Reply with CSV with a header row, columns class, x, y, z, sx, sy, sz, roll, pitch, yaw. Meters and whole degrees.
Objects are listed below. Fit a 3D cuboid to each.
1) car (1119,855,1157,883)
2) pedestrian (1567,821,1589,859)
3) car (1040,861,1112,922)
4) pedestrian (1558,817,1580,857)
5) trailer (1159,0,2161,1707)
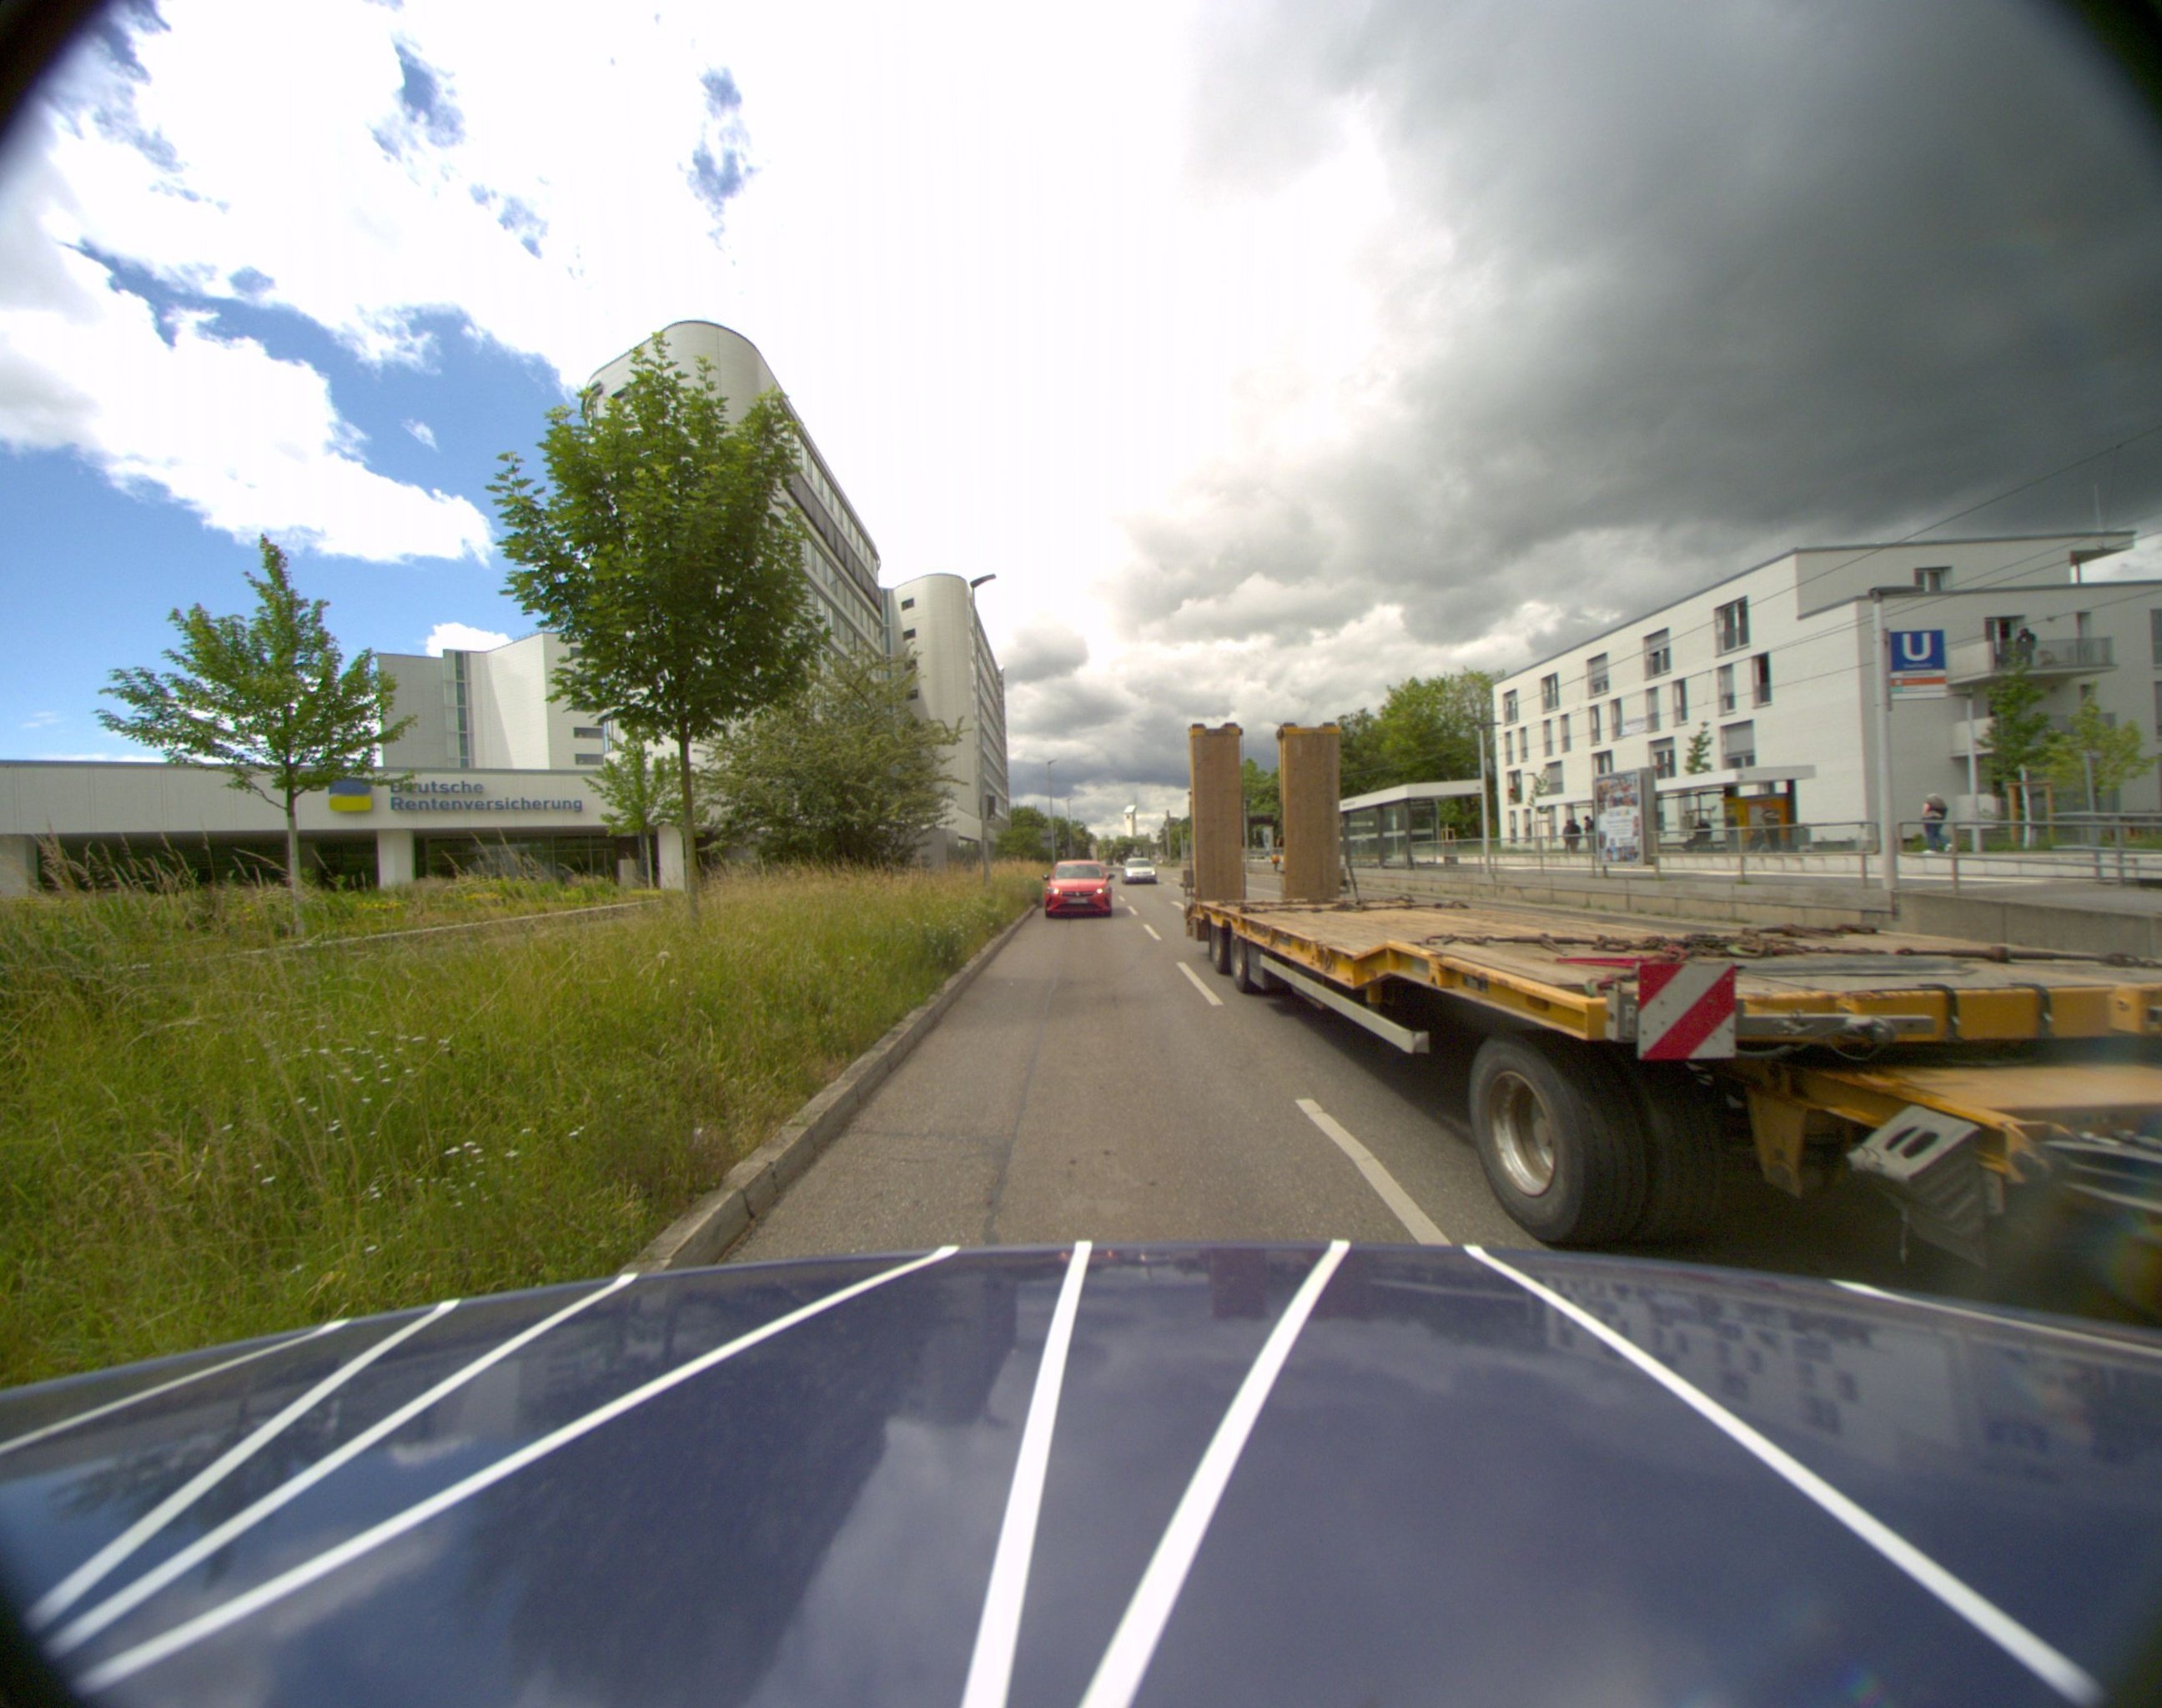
class,x,y,z,sx,sy,sz,roll,pitch,yaw
car,3.053,0.779,41.227,1.784,1.408,3.785,-2,0,1
pedestrian,21.780,-0.598,33.313,0.600,1.641,0.614,-2,1,10
car,-0.092,0.943,20.496,1.749,1.408,3.675,-1,0,1
pedestrian,21.926,-0.748,34.156,0.660,1.744,0.506,-2,1,13
trailer,2.844,-0.322,6.505,3.057,3.676,10.964,-2,0,0
